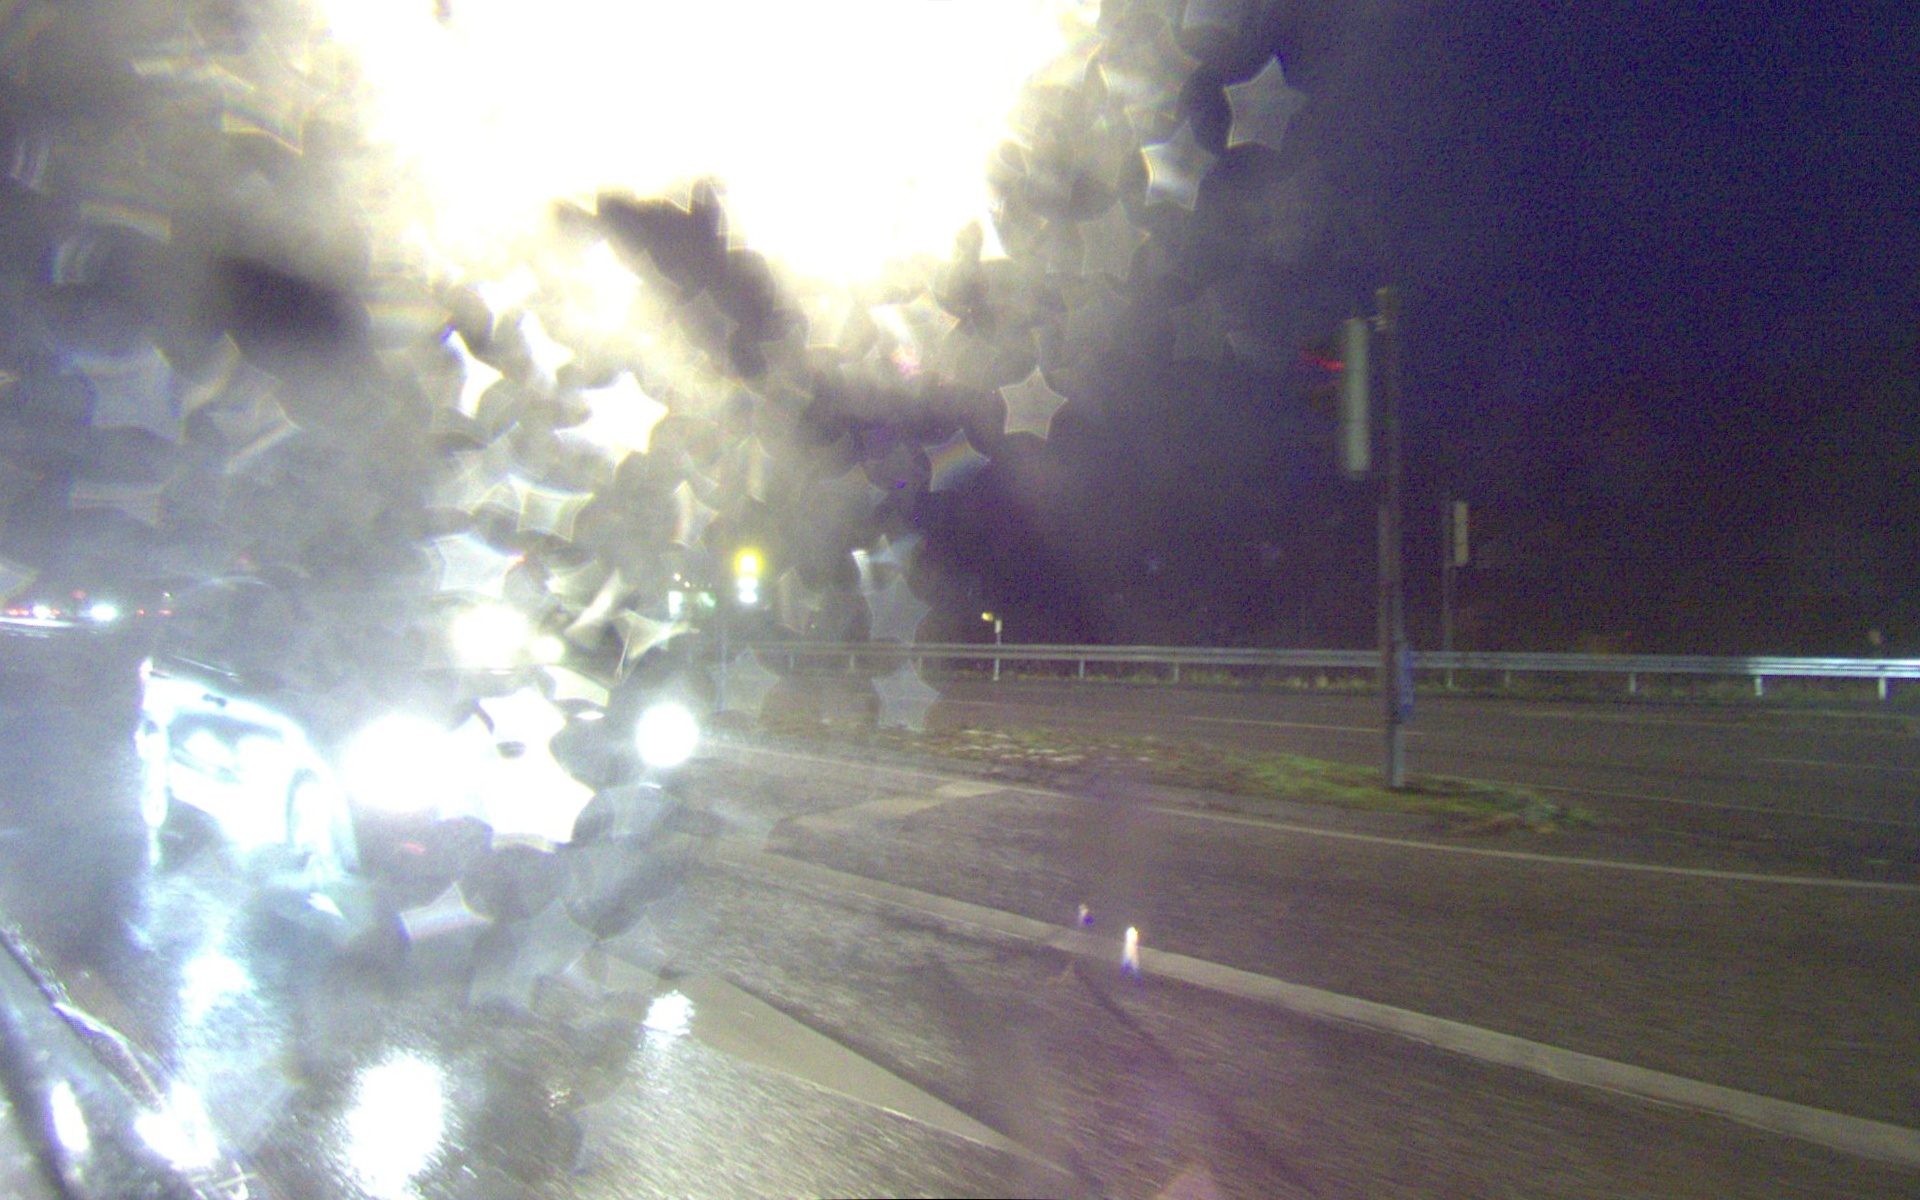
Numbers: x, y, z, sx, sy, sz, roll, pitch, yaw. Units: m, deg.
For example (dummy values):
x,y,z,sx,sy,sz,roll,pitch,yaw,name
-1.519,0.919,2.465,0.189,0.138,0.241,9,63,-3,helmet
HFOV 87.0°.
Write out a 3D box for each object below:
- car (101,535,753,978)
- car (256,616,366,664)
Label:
x,y,z,sx,sy,sz,roll,pitch,yaw,name
-3.585,0.633,6.272,4.936,1.717,1.890,0,-1,41,car
-22.282,1.363,34.711,4.366,1.510,1.639,0,-3,36,car
